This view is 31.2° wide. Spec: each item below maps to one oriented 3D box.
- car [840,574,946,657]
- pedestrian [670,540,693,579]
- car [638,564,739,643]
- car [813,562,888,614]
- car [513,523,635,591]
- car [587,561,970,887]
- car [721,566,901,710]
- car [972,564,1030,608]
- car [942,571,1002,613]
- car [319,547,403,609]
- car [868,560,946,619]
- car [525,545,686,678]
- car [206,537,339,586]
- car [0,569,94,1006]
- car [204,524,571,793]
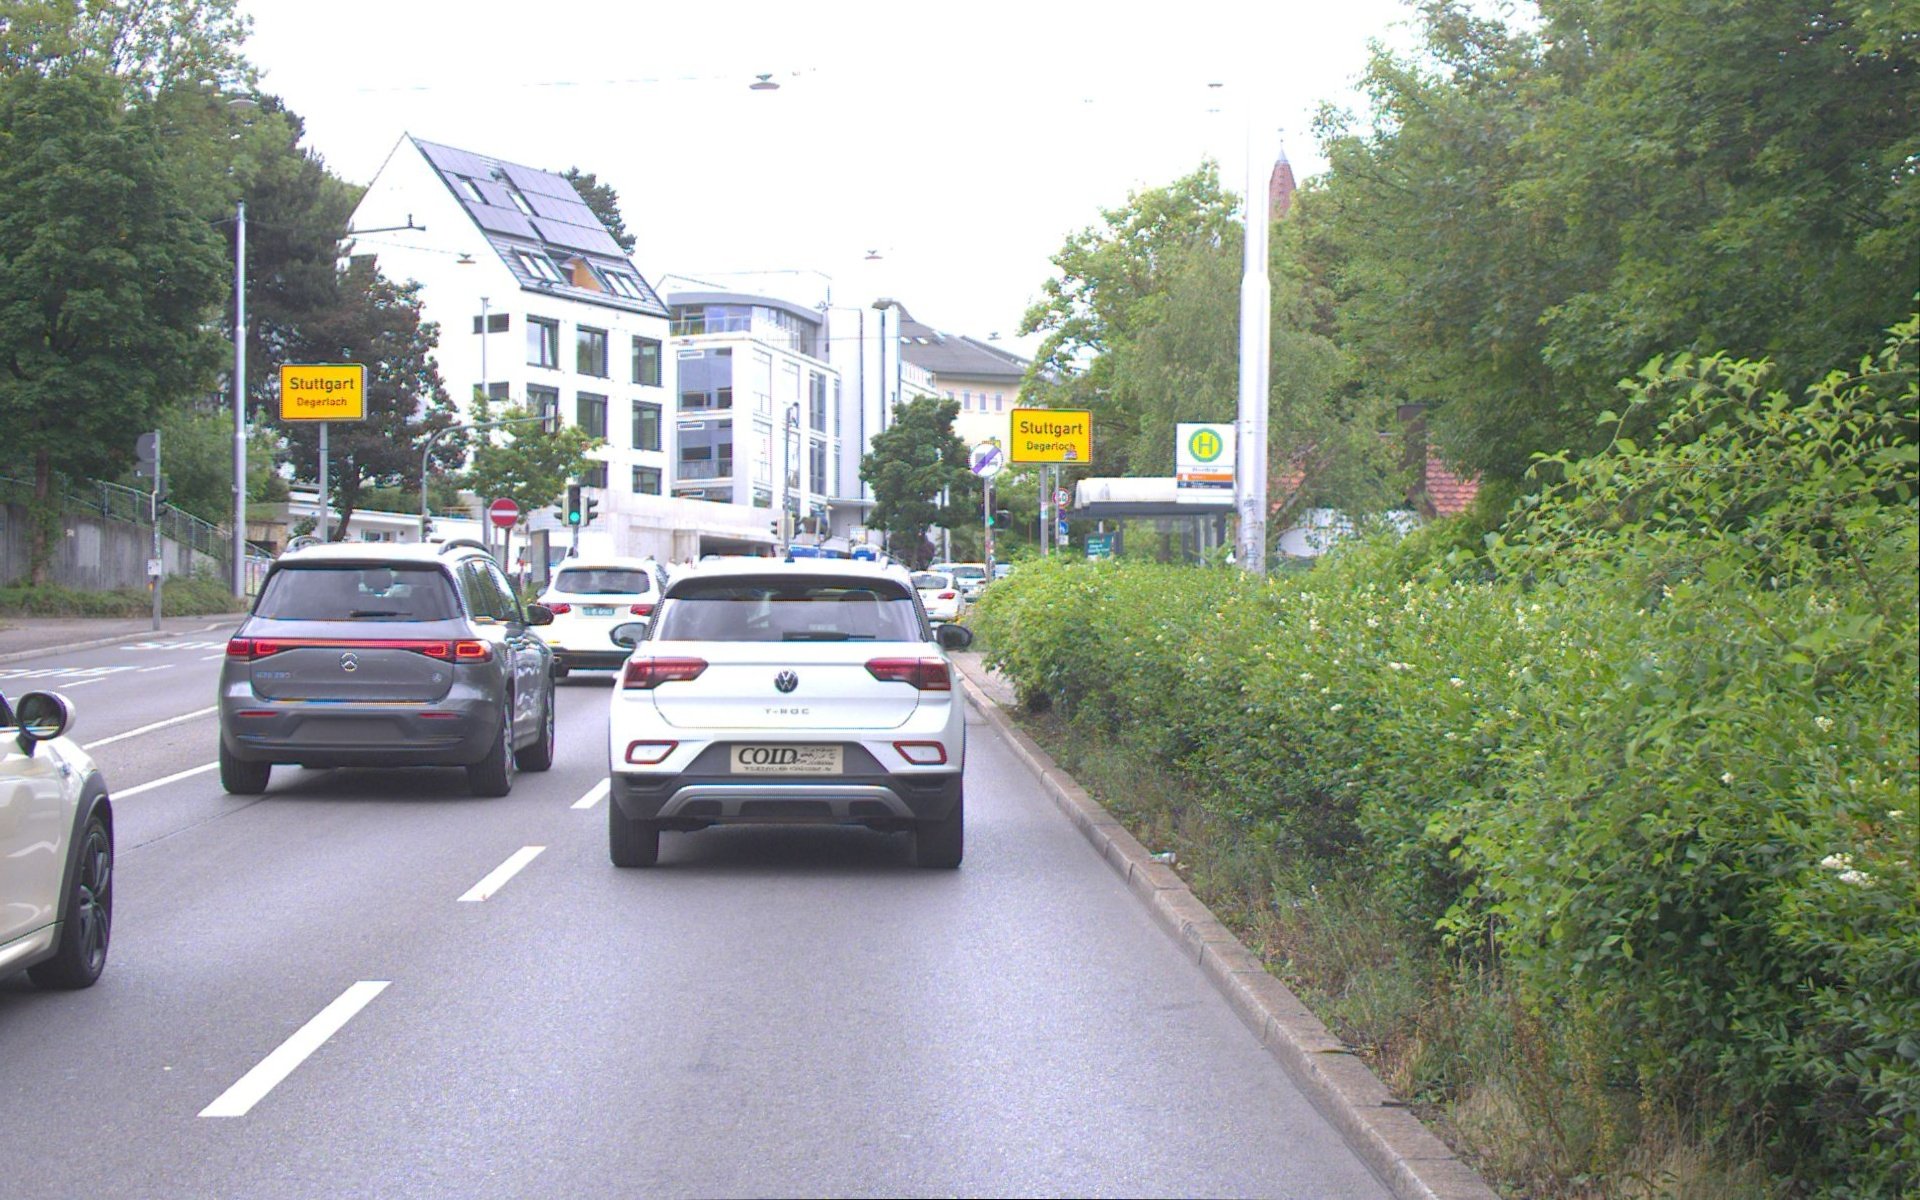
[{"bbox_3d":[-1.374,0.282,68.976,1.873,1.496,4.556,3,0,-3],"label":"car"},{"bbox_3d":[-11.903,-1.731,146.833,0.674,1.634,0.672,2,1,-34],"label":"pedestrian"},{"bbox_3d":[-5.315,0.043,67.652,1.858,1.495,4.056,0,1,-3],"label":"car"},{"bbox_3d":[-3.189,-0.368,100.501,1.858,1.495,4.055,0,1,3],"label":"car"},{"bbox_3d":[-14.919,-1.680,133.467,2.233,2.559,7.417,0,1,14],"label":"car"},{"bbox_3d":[-0.962,0.571,18.230,1.811,1.534,3.690,0,1,-3],"label":"car"},{"bbox_3d":[-1.663,0.376,37.913,1.858,1.495,4.056,0,1,-3],"label":"car"},{"bbox_3d":[1.448,-0.496,120.641,1.858,1.495,4.055,0,1,3],"label":"car"},{"bbox_3d":[0.464,-0.296,125.739,1.858,1.495,4.055,0,1,5],"label":"car"},{"bbox_3d":[-15.298,-0.571,87.966,1.728,1.535,4.044,1,1,-5],"label":"car"},{"bbox_3d":[-1.407,-0.287,89.829,1.858,1.495,4.056,0,1,-3],"label":"car"},{"bbox_3d":[-4.596,0.118,45.069,1.858,1.646,4.637,0,1,-3],"label":"car"},{"bbox_3d":[-22.018,-1.235,110.050,4.118,1.534,1.599,0,1,-13],"label":"car"},{"bbox_3d":[-3.856,0.605,10.705,1.627,1.388,3.566,0,1,-4],"label":"car"},{"bbox_3d":[-3.802,0.337,23.567,1.812,1.646,4.636,0,1,-1],"label":"car"}]
